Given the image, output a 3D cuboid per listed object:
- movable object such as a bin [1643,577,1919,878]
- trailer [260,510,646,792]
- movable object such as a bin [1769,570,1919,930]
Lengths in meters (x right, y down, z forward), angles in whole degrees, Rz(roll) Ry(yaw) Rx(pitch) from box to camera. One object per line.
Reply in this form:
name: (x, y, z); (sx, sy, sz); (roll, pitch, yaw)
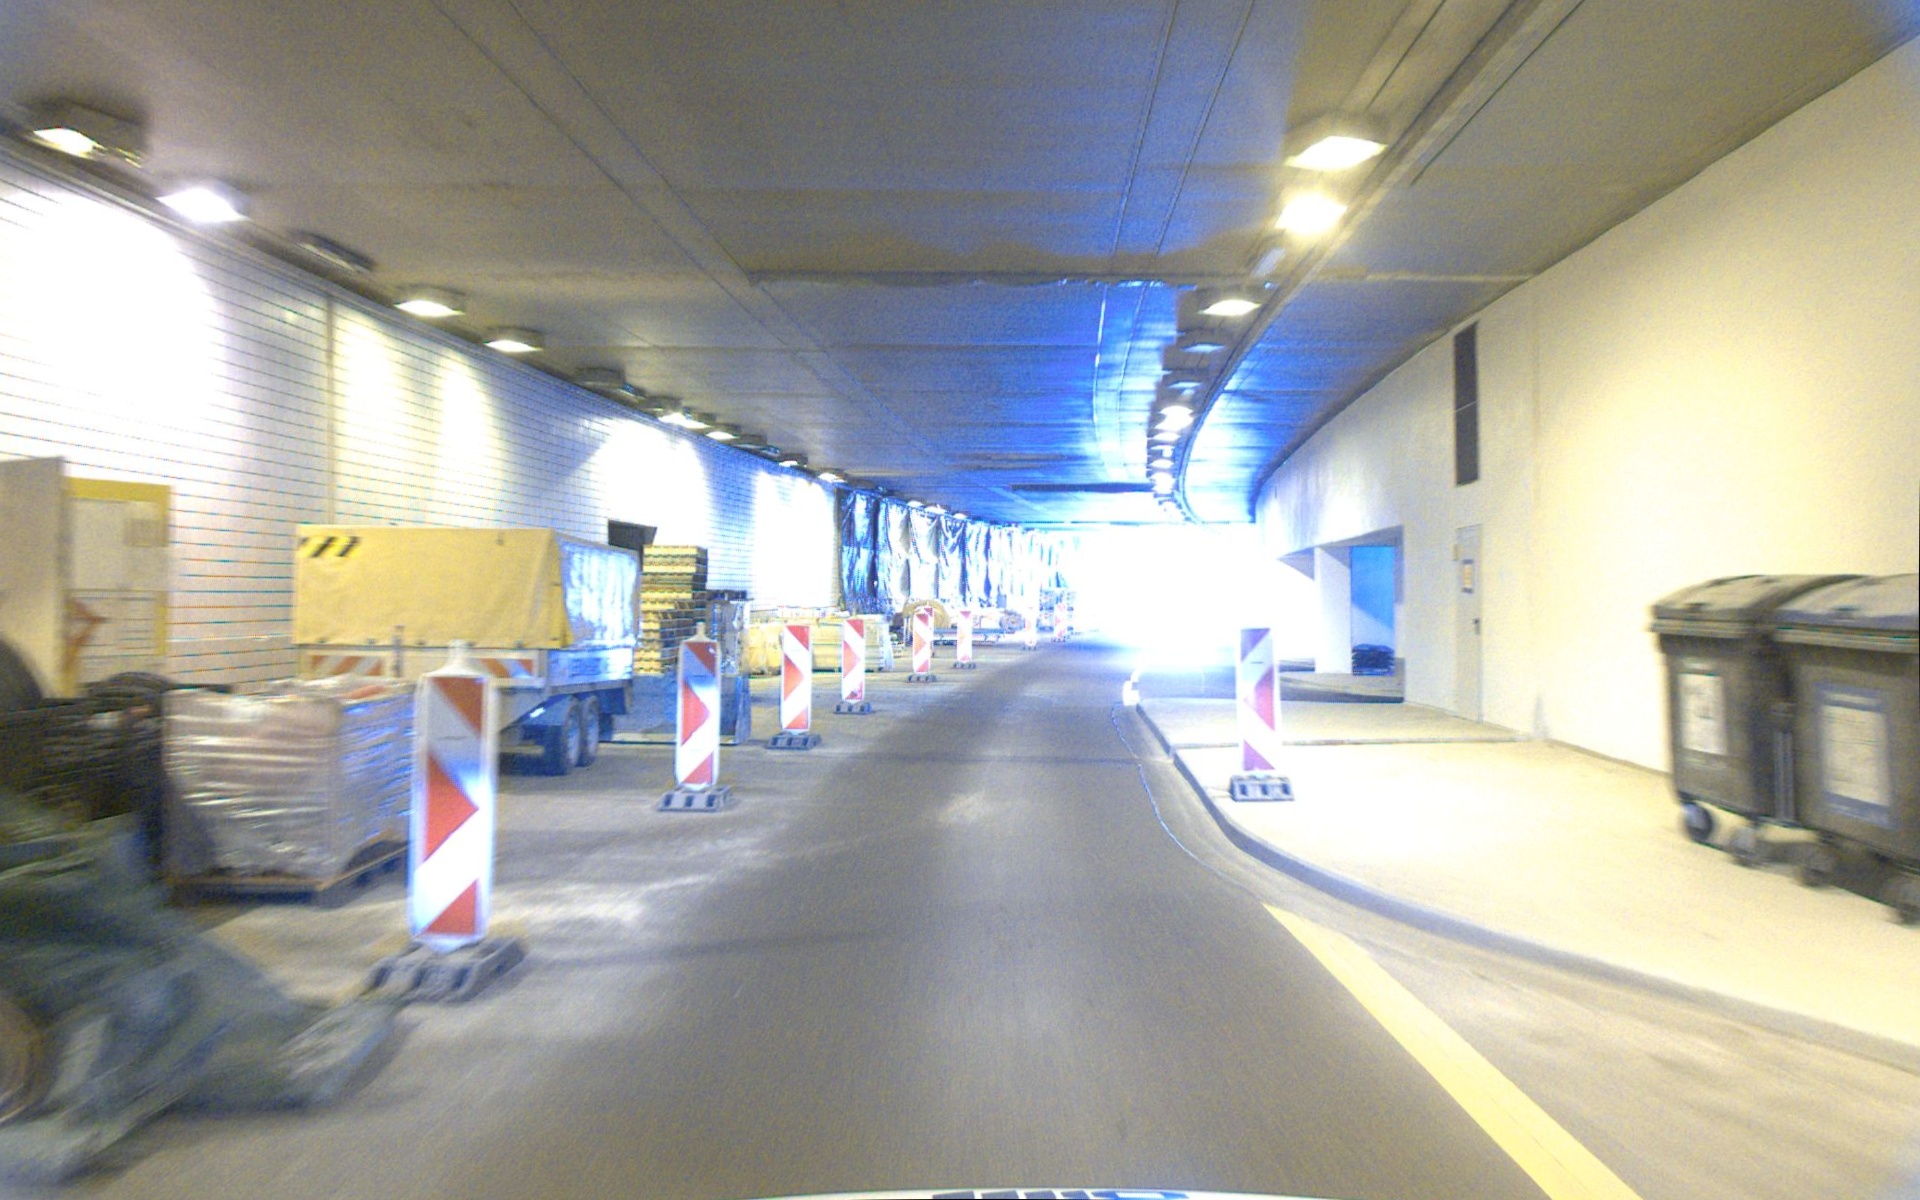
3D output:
movable object such as a bin: (4.469, 0.633, 8.799); (1.122, 1.470, 1.364); (0, -1, 1)
trailer: (-4.055, 0.389, 13.901); (2.163, 2.049, 3.466); (1, -1, 0)
movable object such as a bin: (4.481, 0.622, 7.419); (1.075, 1.470, 1.322); (0, -1, 1)
